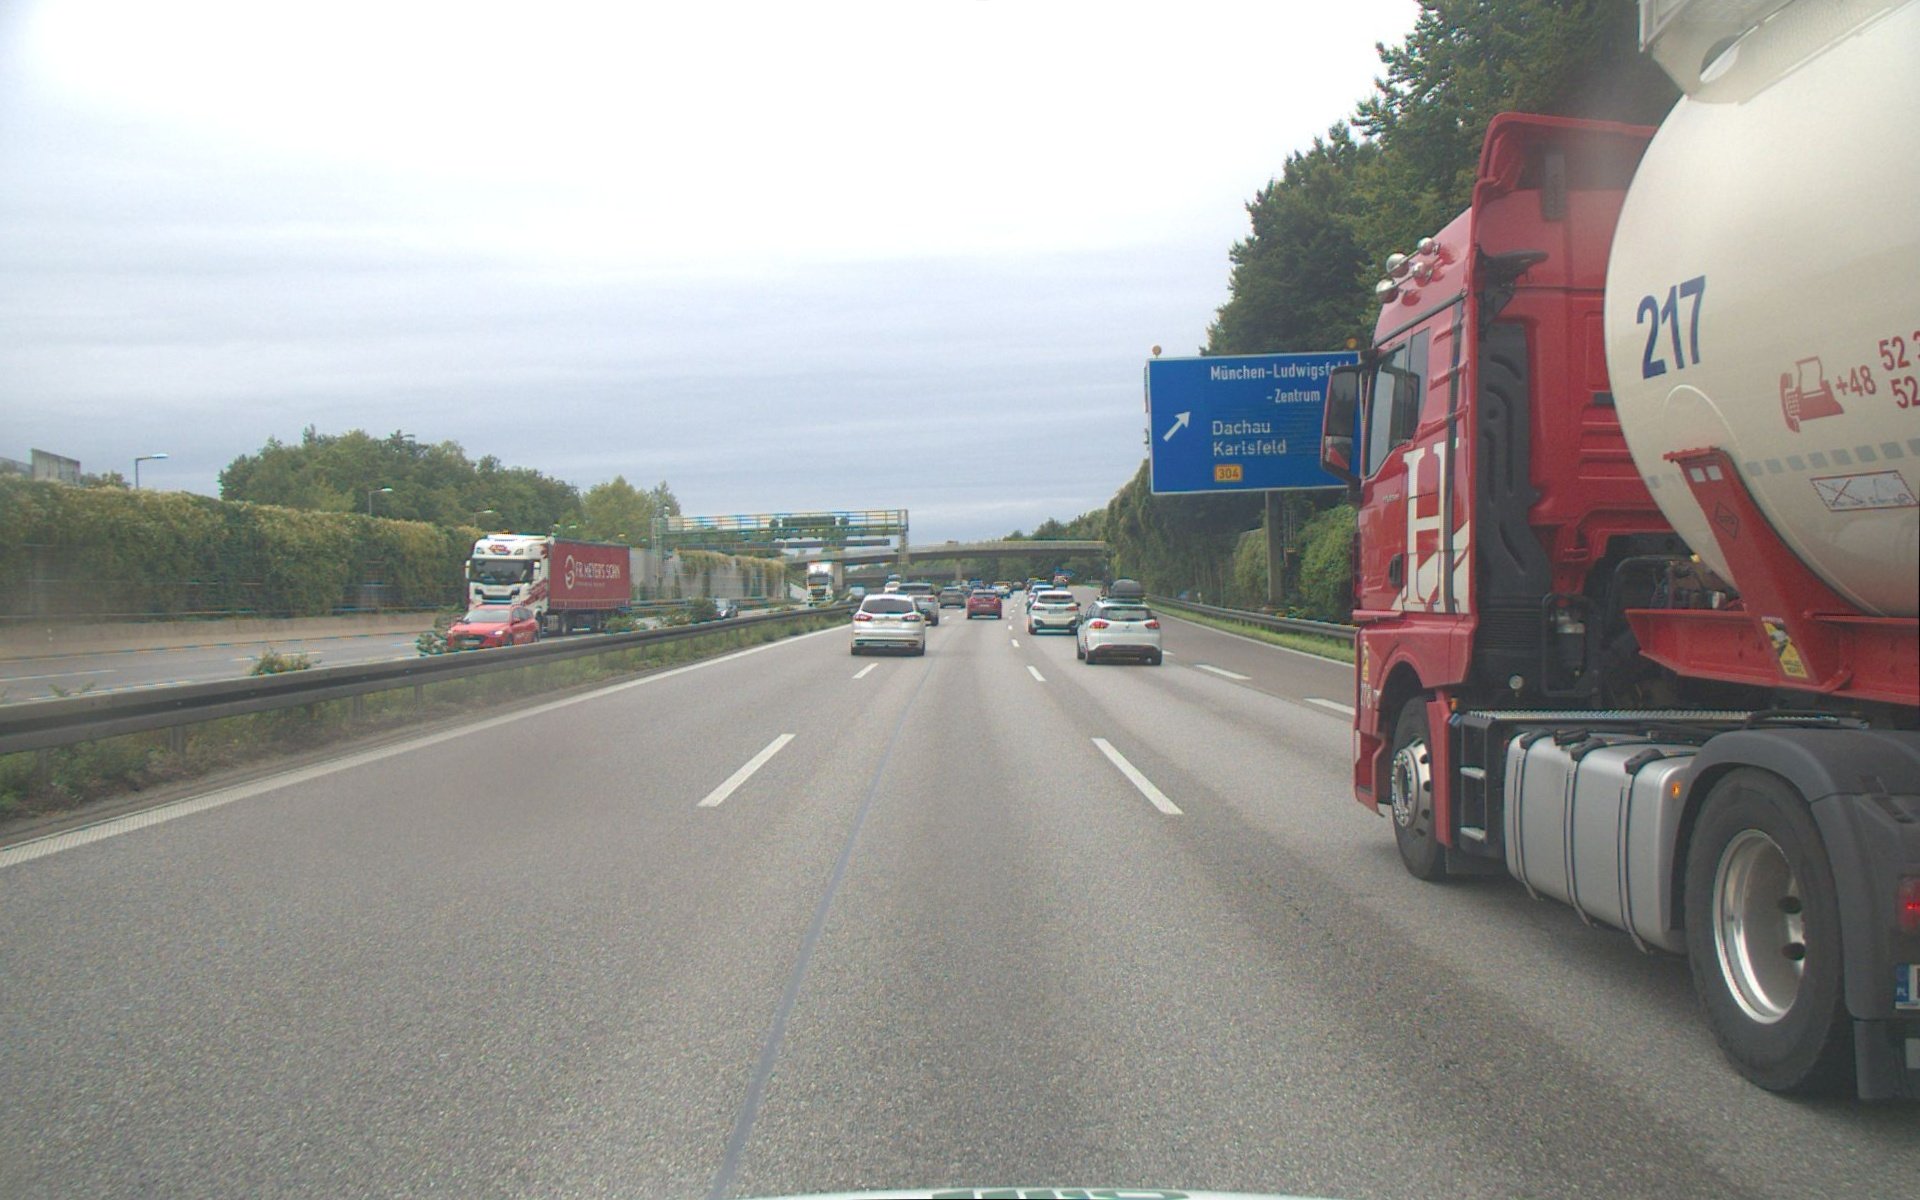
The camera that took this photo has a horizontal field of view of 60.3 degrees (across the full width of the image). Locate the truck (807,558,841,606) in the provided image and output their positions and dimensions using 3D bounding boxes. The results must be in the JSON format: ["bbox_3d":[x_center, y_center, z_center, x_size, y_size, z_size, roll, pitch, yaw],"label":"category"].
[{"bbox_3d":[-13.047,-1.694,159.048,2.593,4.552,5.285,-1,0,2],"label":"truck"}]

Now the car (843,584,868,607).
[{"bbox_3d":[-9.746,-0.411,154.627,1.952,2.049,4.910,0,-1,1],"label":"car"}]

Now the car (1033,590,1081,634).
[{"bbox_3d":[3.487,0.438,59.978,1.654,1.533,3.872,0,-1,2],"label":"car"}]

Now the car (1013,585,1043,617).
[{"bbox_3d":[4.016,0.056,97.005,1.653,1.811,3.873,-1,0,4],"label":"car"}]

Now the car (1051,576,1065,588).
[{"bbox_3d":[12.807,-2.330,215.770,1.654,1.447,3.872,0,0,2],"label":"car"}]

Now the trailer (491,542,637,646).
[{"bbox_3d":[-17.355,-0.267,73.755,2.687,4.200,13.693,0,0,2],"label":"trailer"}]

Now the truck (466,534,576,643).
[{"bbox_3d":[-17.636,-0.459,66.844,2.612,4.200,5.918,-1,0,2],"label":"truck"}]

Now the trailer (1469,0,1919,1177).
[{"bbox_3d":[3.869,-0.484,1.298,2.614,4.007,13.127,0,0,-1],"label":"trailer"}]

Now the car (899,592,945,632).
[{"bbox_3d":[-1.577,0.482,70.280,1.654,1.532,3.872,4,1,2],"label":"car"}]

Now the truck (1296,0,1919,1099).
[{"bbox_3d":[3.755,-0.492,8.410,2.640,3.980,6.555,0,1,-1],"label":"truck"}]

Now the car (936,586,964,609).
[{"bbox_3d":[-0.669,-0.172,114.723,1.653,1.533,3.873,-2,0,4],"label":"car"}]

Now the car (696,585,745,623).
[{"bbox_3d":[-12.410,0.182,85.992,1.953,1.769,4.000,2,2,0],"label":"car"}]

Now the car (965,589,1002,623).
[{"bbox_3d":[1.204,0.279,83.888,1.654,1.532,3.873,4,1,3],"label":"car"}]

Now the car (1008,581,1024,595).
[{"bbox_3d":[6.382,-1.381,187.628,1.653,1.566,3.873,0,0,4],"label":"car"}]

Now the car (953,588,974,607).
[{"bbox_3d":[0.330,-0.245,149.911,1.653,1.668,3.873,-1,0,4],"label":"car"}]

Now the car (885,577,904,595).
[{"bbox_3d":[-8.035,-1.715,202.916,1.952,2.049,4.910,0,-1,1],"label":"car"}]

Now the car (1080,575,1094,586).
[{"bbox_3d":[16.853,-2.604,219.512,1.654,1.447,3.872,0,0,2],"label":"car"}]

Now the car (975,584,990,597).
[{"bbox_3d":[2.651,-1.084,193.517,1.654,1.447,3.872,0,0,2],"label":"car"}]

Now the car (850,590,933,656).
[{"bbox_3d":[-1.670,0.563,41.635,1.853,1.530,5.029,1,0,0],"label":"car"}]

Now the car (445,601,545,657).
[{"bbox_3d":[-13.825,0.852,49.441,1.735,1.597,4.716,0,-1,-1],"label":"car"}]

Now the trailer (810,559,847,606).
[{"bbox_3d":[-12.889,-1.701,162.737,2.612,4.522,8.576,0,0,2],"label":"trailer"}]

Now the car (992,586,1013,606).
[{"bbox_3d":[3.924,-0.328,152.915,1.752,1.811,3.873,-1,0,4],"label":"car"}]

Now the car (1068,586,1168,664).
[{"bbox_3d":[3.583,0.558,38.372,1.779,1.654,5.029,1,0,-1],"label":"car"}]
